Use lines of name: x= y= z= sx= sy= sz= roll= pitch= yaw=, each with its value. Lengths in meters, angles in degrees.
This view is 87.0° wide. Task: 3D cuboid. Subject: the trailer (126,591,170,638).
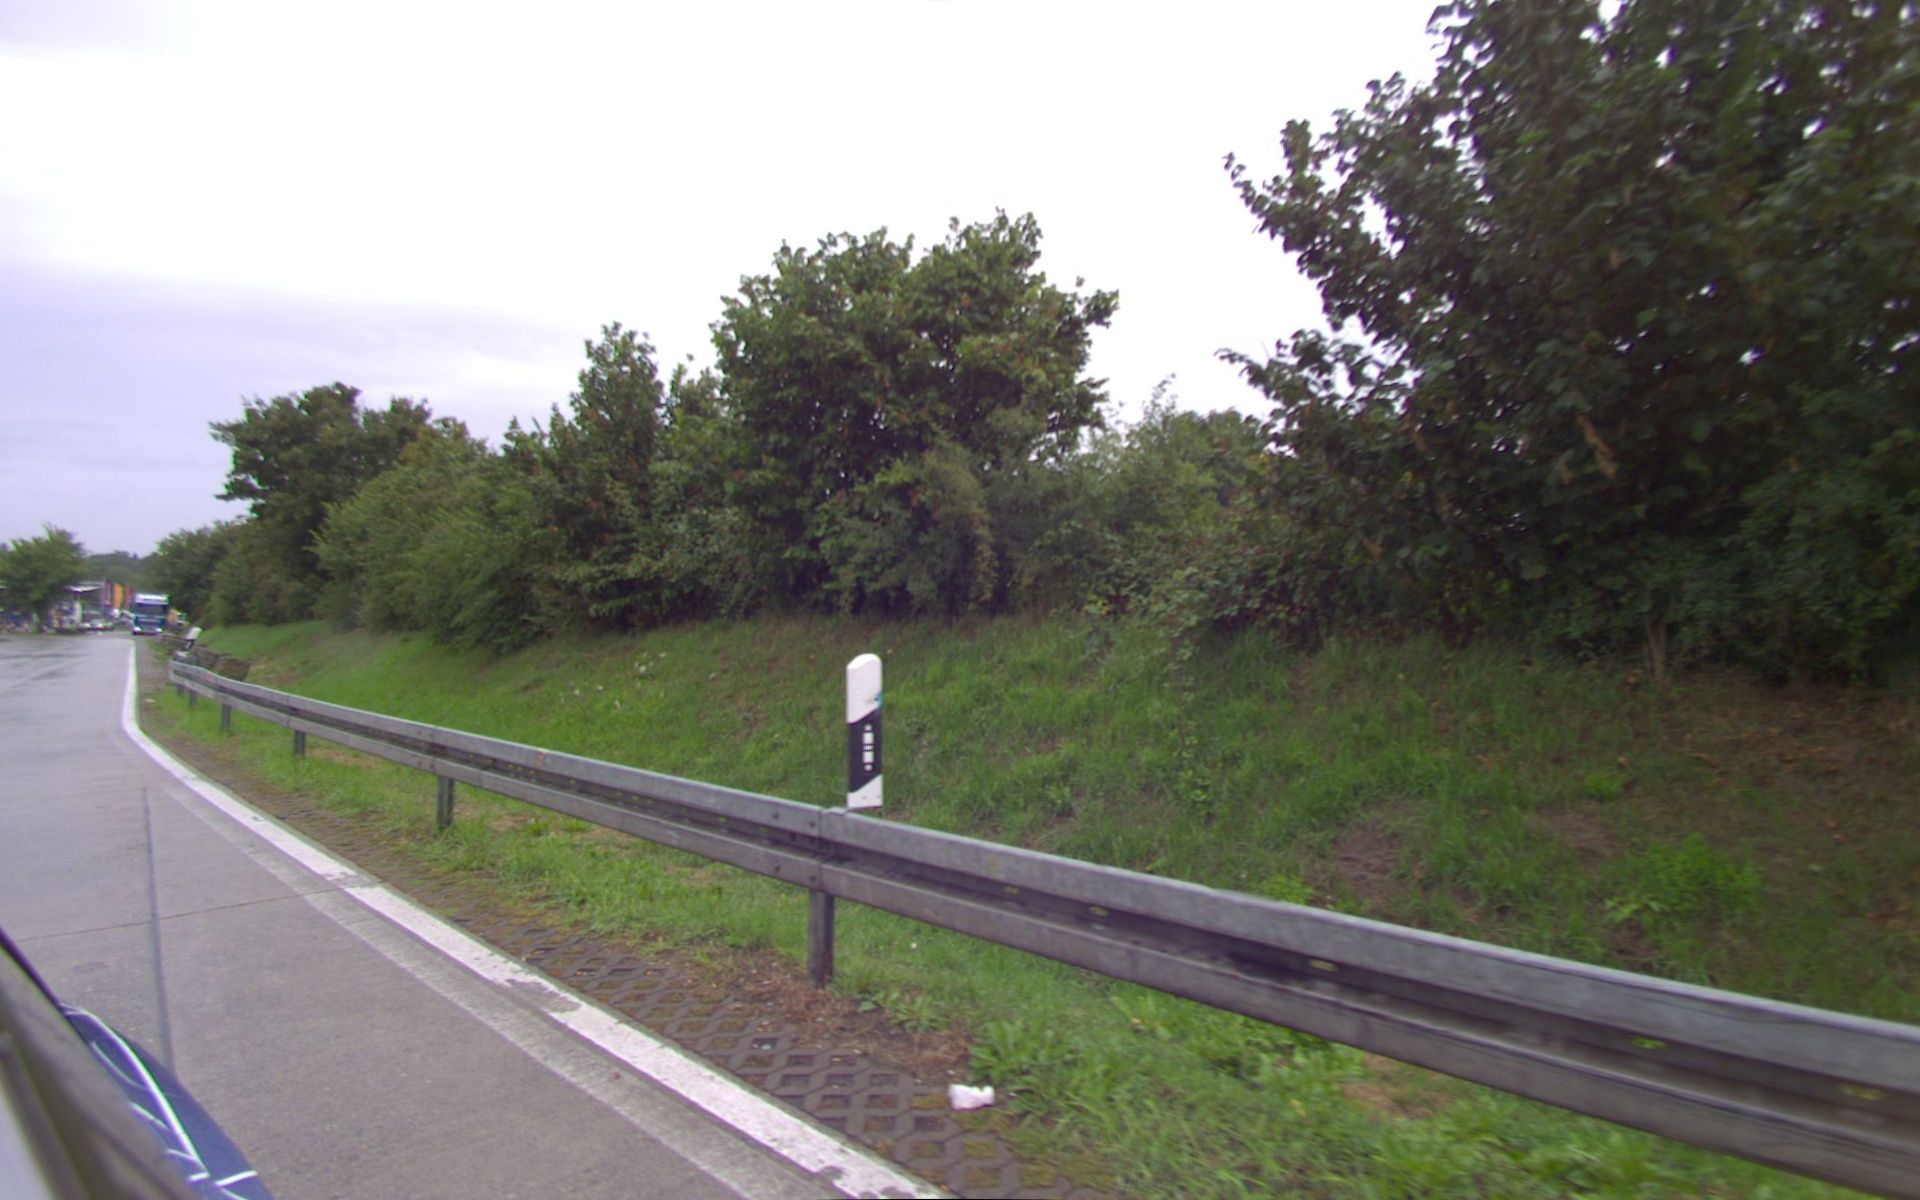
trailer: x=-82.857 y=1.512 z=103.290 sx=3.194 sy=4.420 sz=13.790 roll=2 pitch=-2 yaw=-39

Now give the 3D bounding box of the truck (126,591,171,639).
truck: x=-78.744 y=1.482 z=98.169 sx=3.194 sy=4.420 sz=6.325 roll=2 pitch=-2 yaw=-39
